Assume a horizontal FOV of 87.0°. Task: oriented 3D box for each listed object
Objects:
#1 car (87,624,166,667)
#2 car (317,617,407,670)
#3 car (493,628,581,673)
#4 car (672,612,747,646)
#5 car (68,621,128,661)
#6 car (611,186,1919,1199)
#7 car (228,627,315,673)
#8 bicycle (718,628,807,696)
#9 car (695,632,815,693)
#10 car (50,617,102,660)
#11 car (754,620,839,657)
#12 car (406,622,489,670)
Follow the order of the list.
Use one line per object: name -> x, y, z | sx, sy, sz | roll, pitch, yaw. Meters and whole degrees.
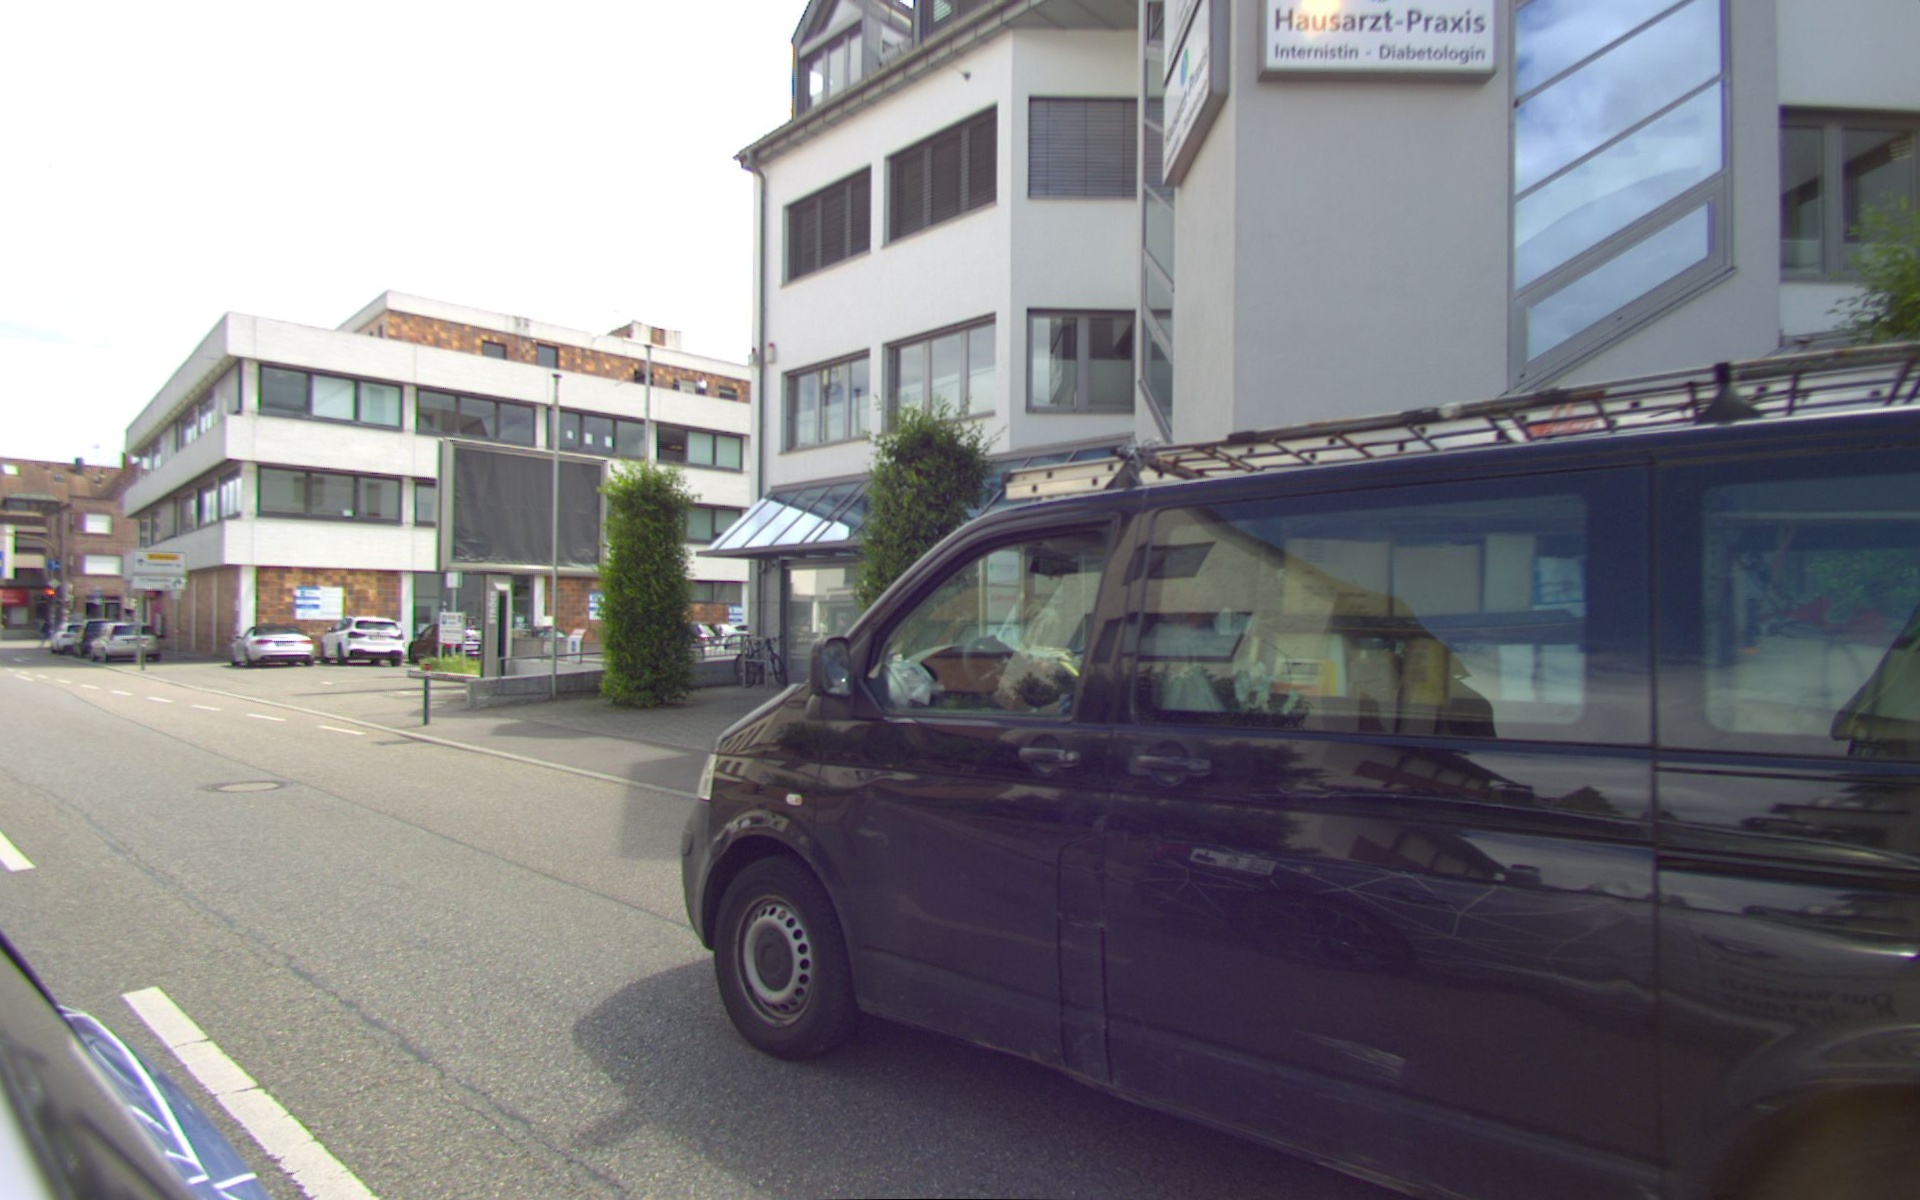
car -> -30.992, 1.641, 37.599 | 4.220, 1.437, 1.815 | -1, -1, 44
car -> -20.640, 1.472, 34.884 | 1.870, 1.710, 3.805 | 4, -3, -42
car -> -16.489, 1.930, 39.380 | 3.665, 1.578, 1.773 | -1, -1, 42
car -> -11.297, 1.270, 45.438 | 1.644, 1.451, 3.860 | 0, -1, -42
car -> -36.023, 1.668, 42.259 | 1.783, 1.541, 4.005 | 0, -1, -42
car -> 1.202, 0.486, 3.168 | 4.878, 2.168, 2.090 | -1, -3, 40
car -> -22.714, 1.591, 33.315 | 1.798, 1.338, 4.241 | 0, -1, -42
bicycle -> -3.635, 1.113, 18.568 | 1.684, 1.150, 0.636 | -1, -1, 37
car -> -6.514, 1.914, 31.922 | 3.951, 1.678, 1.798 | -1, -1, 44
car -> -39.767, 1.684, 45.481 | 1.677, 1.790, 4.466 | 0, -1, -42
car -> -7.936, 1.817, 48.887 | 1.948, 1.678, 4.431 | 0, -1, -44
car -> -18.826, 1.646, 37.124 | 3.844, 1.620, 1.625 | -1, -1, 45
